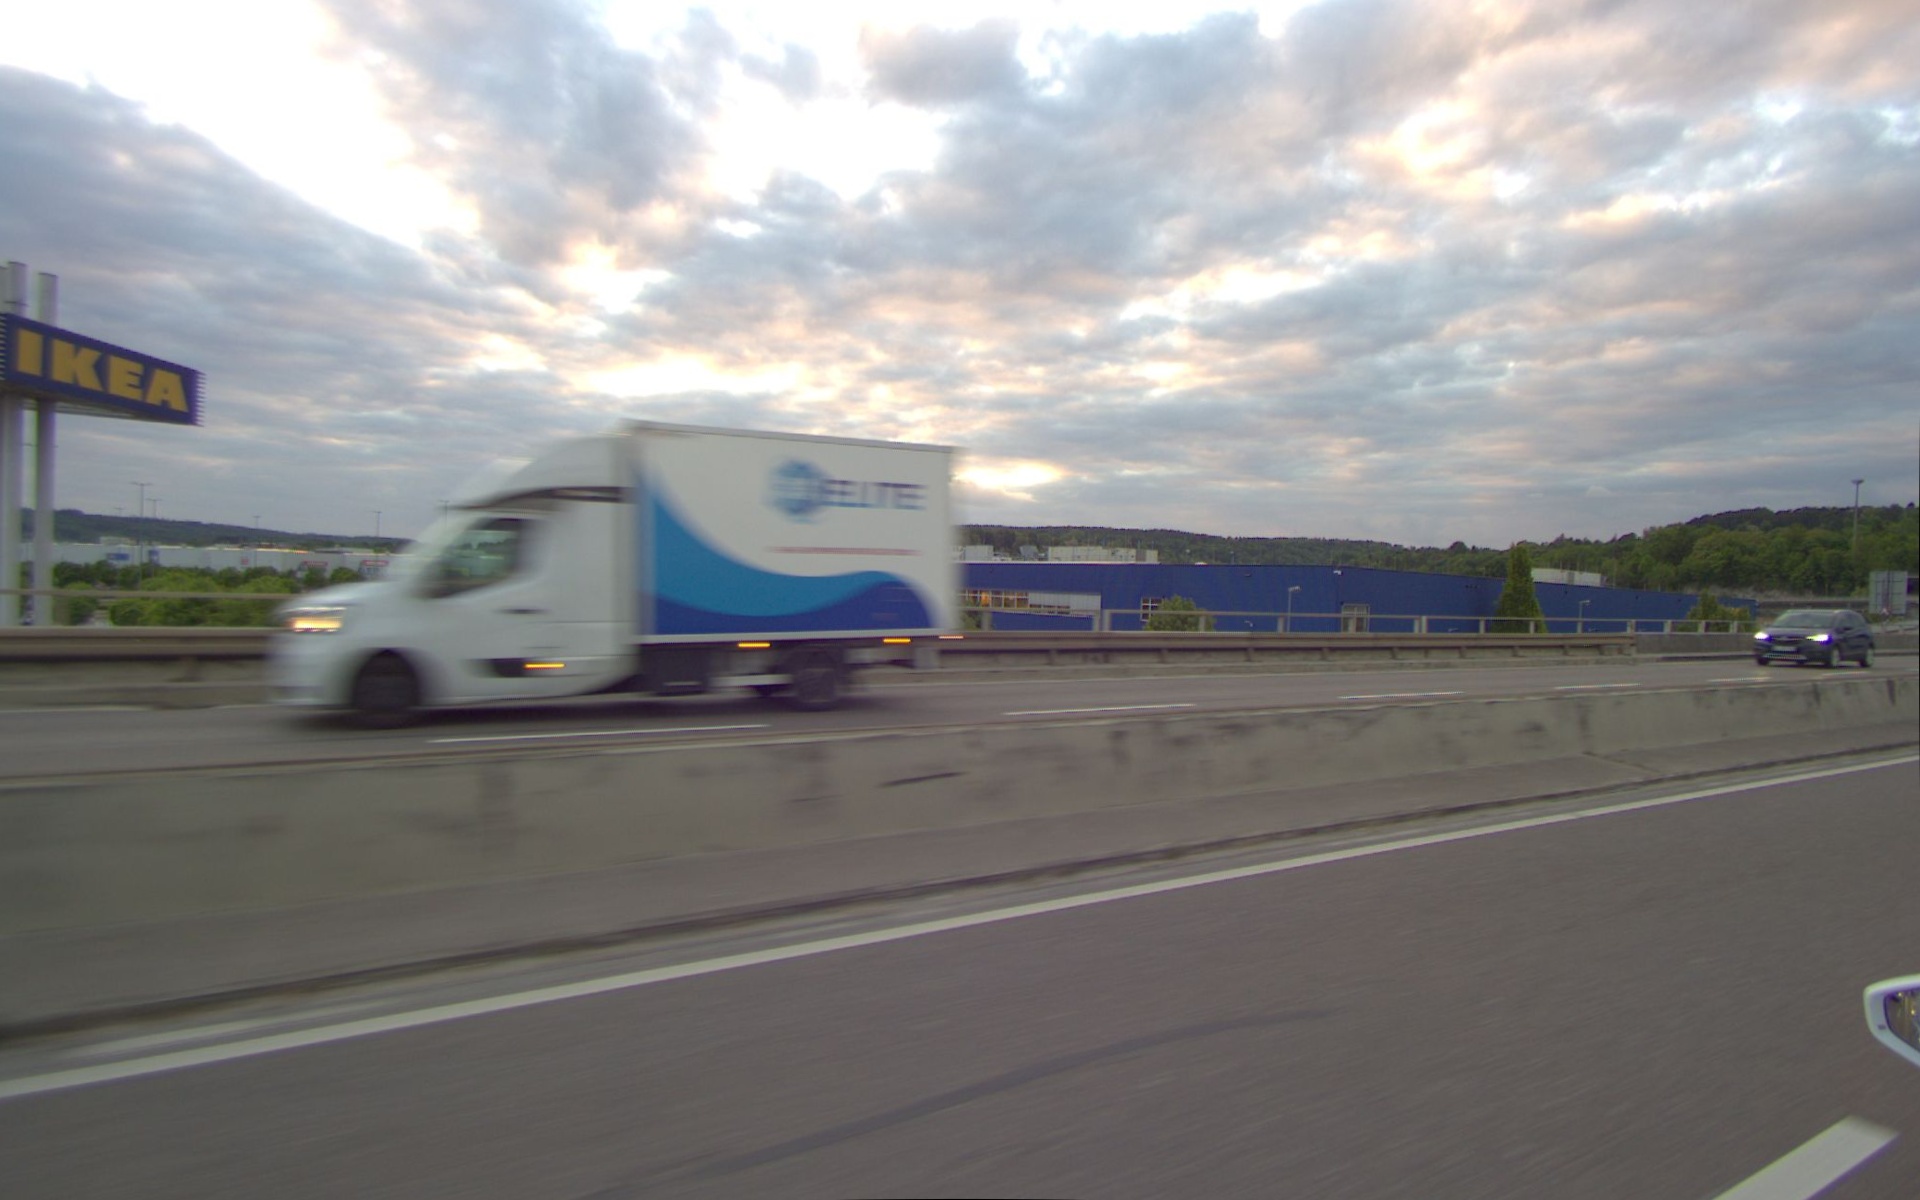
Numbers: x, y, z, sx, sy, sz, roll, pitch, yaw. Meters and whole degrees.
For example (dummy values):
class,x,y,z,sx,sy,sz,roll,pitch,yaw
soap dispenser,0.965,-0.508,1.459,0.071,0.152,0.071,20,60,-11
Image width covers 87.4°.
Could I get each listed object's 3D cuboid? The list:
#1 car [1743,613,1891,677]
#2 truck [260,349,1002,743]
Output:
class,x,y,z,sx,sy,sz,roll,pitch,yaw
car,23.930,1.238,28.023,4.394,1.627,1.965,2,0,-33
truck,-3.325,-0.372,11.468,7.358,3.340,2.523,2,0,-30
